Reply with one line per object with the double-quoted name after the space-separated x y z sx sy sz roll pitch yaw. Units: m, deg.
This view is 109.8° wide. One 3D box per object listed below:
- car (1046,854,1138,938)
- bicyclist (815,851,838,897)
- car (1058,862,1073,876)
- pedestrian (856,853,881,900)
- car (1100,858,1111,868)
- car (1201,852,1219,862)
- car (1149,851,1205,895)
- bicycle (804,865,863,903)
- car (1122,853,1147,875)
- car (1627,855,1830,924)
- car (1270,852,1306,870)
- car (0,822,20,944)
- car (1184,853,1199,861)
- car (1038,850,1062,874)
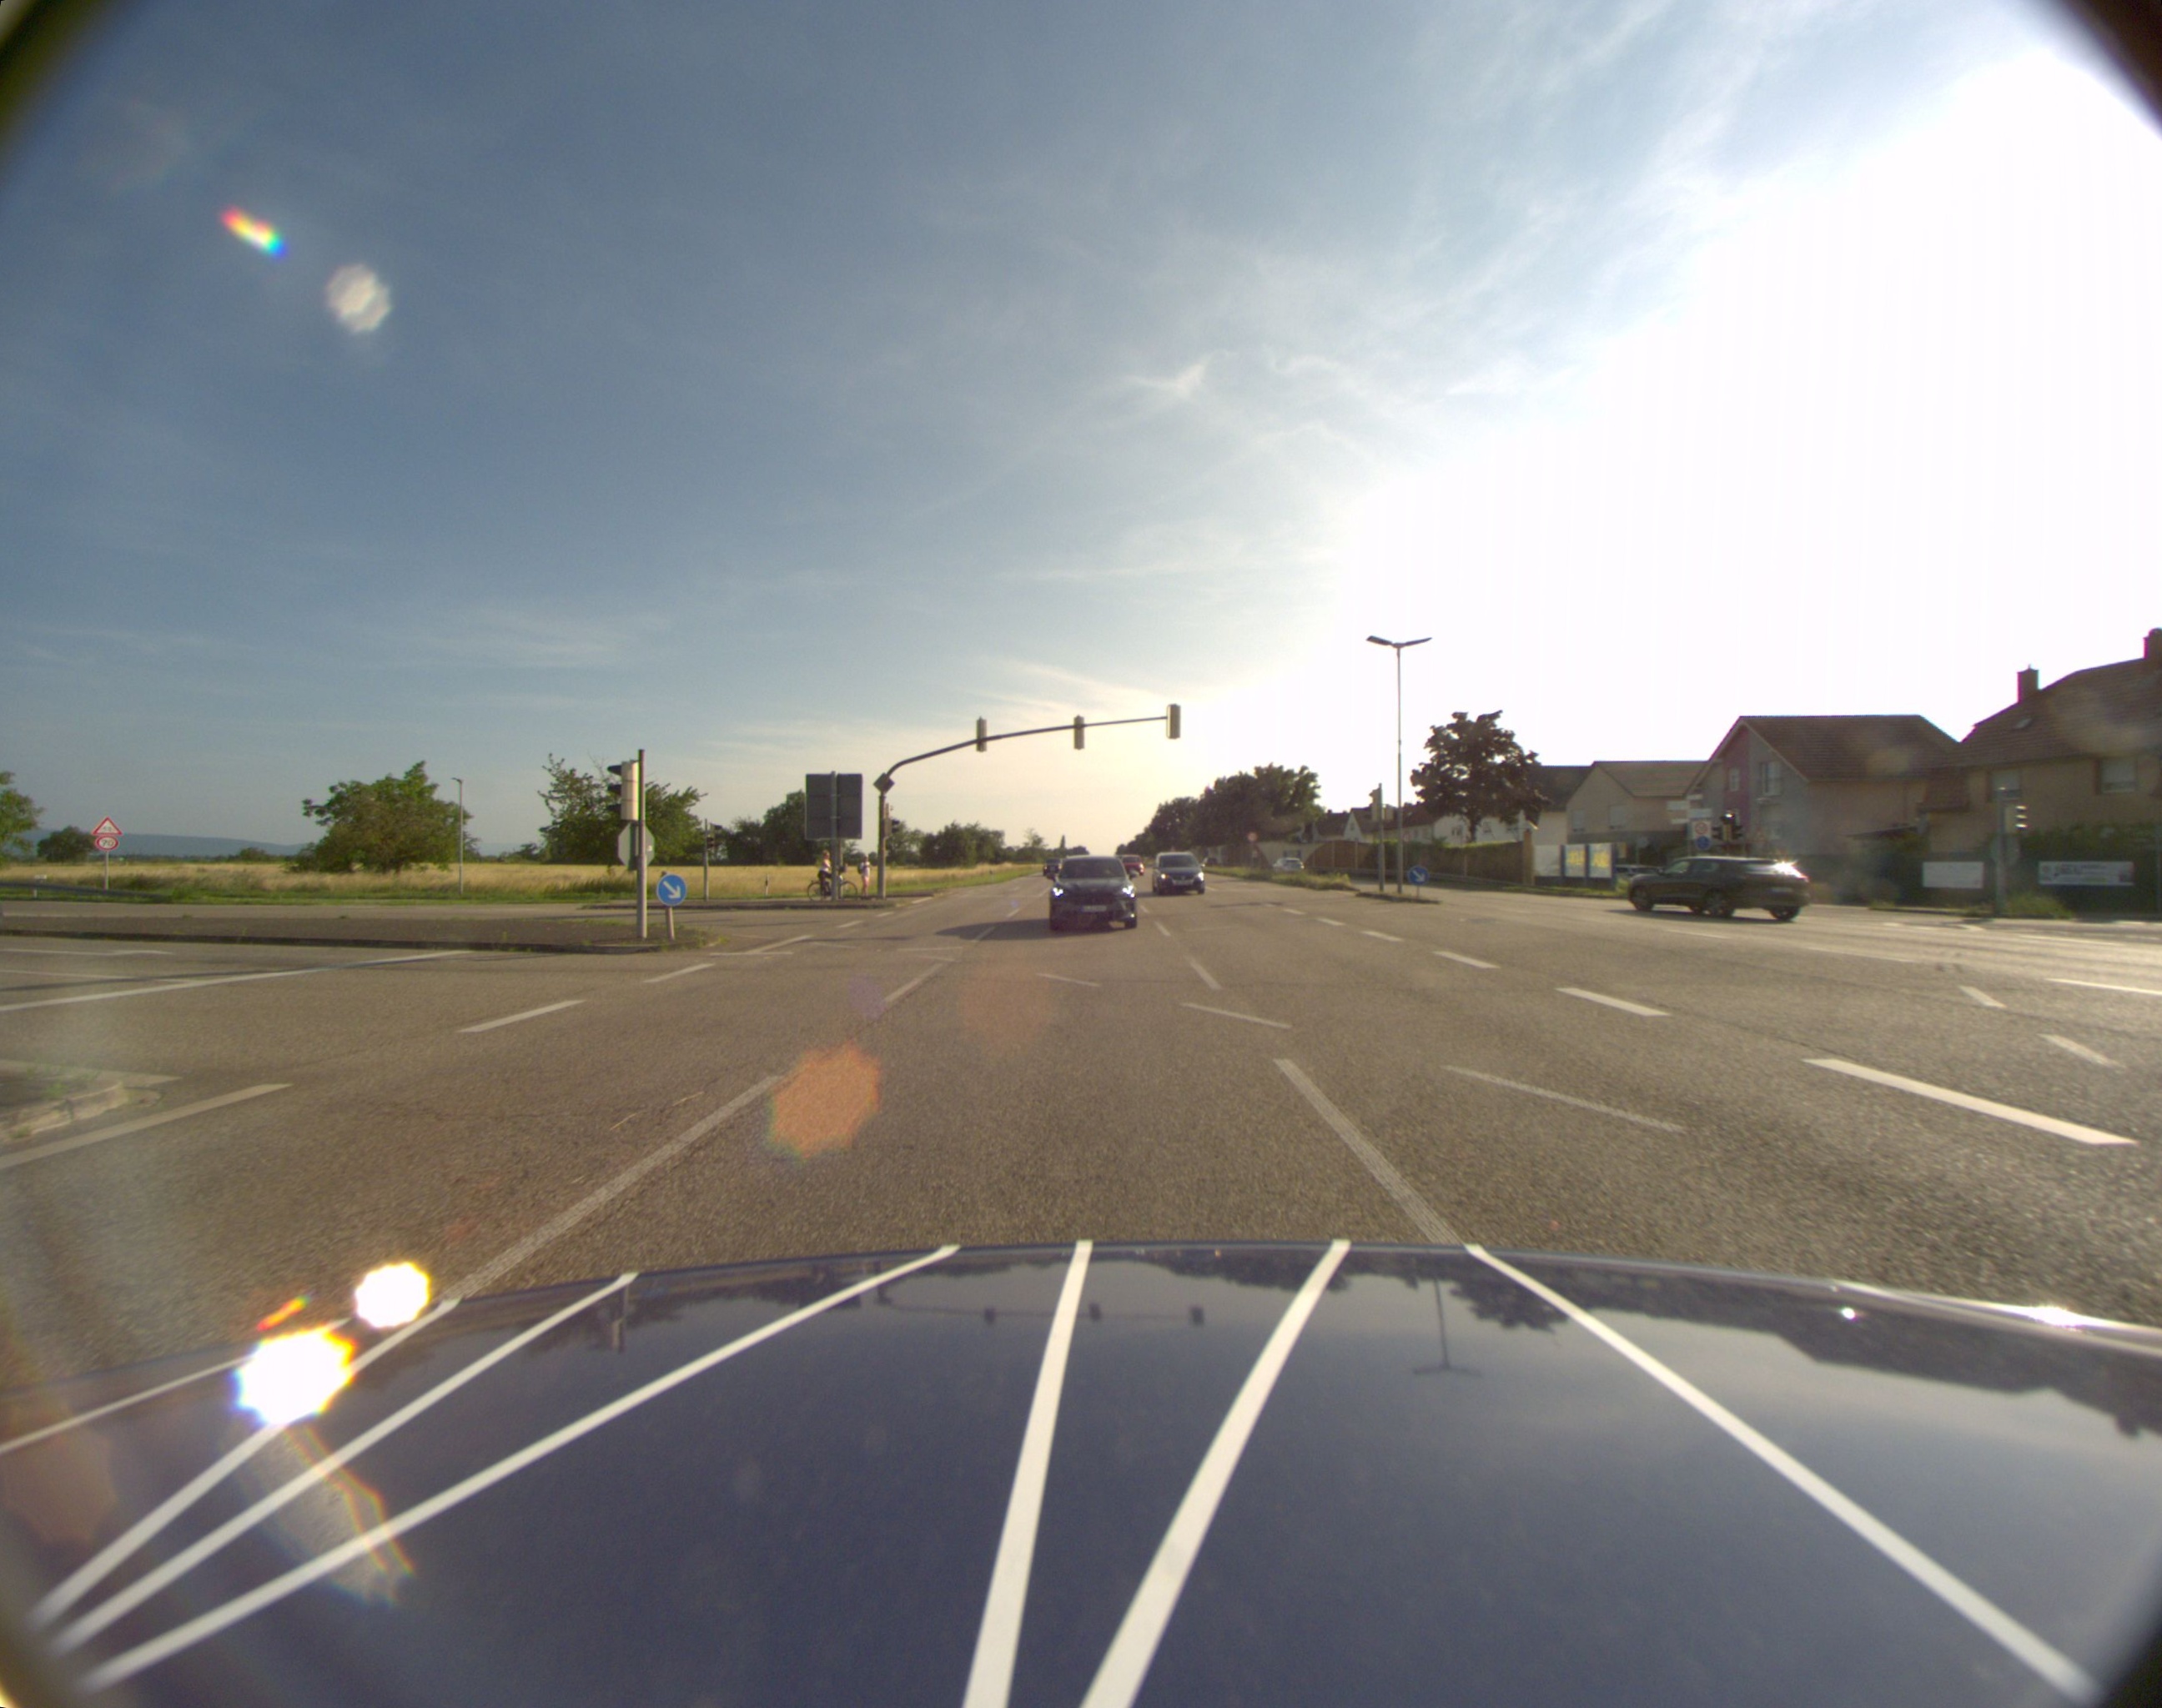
0.273 0.848 17.397 1.791 1.594 4.339 -2 0 1 "car"
-9.026 0.716 26.947 0.560 1.603 0.504 -2 1 7 "bicyclist"
-1.802 1.737 88.707 1.686 1.565 3.816 -2 0 -2 "car"
-8.085 0.858 28.916 0.623 1.741 0.598 -2 1 11 "pedestrian"
5.152 1.924 160.428 1.999 2.002 3.999 -2 1 -2 "car"
18.435 0.430 109.011 1.793 1.375 4.554 -2 0 0 "car"
3.788 0.699 30.724 1.777 1.612 4.682 -1 0 2 "car"
-8.743 1.055 26.877 1.857 1.282 0.529 -2 1 4 "bicycle"
4.112 0.746 58.866 1.748 1.537 4.000 -2 0 1 "car"
16.611 0.823 19.823 1.736 1.532 4.247 1 0 2 "car"
17.420 0.539 64.184 1.758 1.453 4.734 1 0 1 "car"
-27.176 0.655 16.639 7.202 2.654 2.094 0 1 15 "car"
19.238 0.458 132.450 1.739 1.346 3.999 -2 0 -2 "car"
-2.747 0.704 67.525 1.999 2.002 3.999 -2 1 -2 "car"
